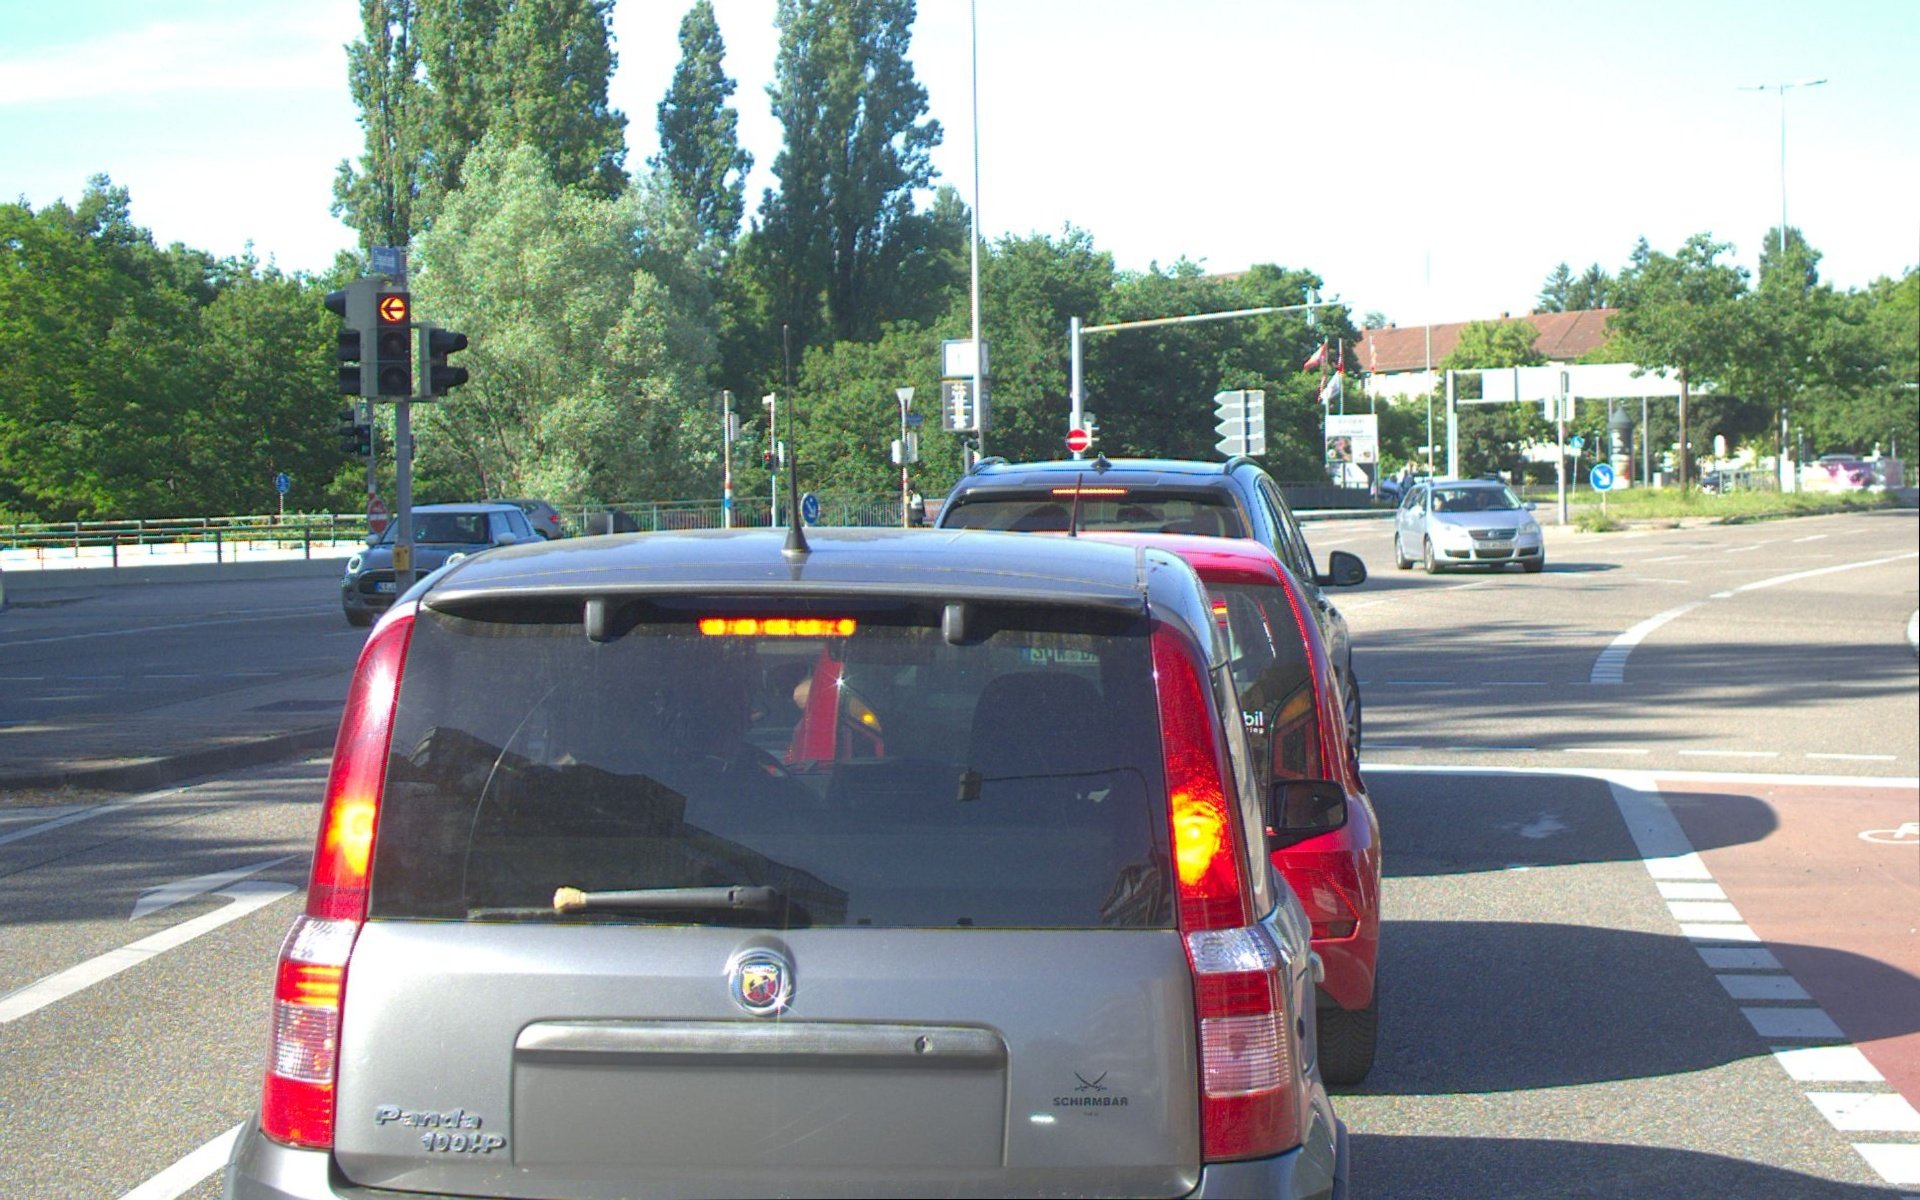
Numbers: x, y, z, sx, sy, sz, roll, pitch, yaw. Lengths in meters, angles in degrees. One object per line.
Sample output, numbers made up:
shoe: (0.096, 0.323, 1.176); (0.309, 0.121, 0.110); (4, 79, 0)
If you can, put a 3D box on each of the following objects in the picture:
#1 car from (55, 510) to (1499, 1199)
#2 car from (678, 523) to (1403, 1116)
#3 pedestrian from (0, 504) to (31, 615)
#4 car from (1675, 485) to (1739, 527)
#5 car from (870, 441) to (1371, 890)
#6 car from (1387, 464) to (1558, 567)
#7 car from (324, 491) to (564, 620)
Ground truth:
car: (-0.144, 0.608, 6.366); (1.820, 1.484, 4.000); (2, 2, 3)
car: (0.280, 0.511, 10.723); (1.820, 1.474, 4.000); (1, 1, 2)
pedestrian: (-14.107, -0.580, 50.319); (0.686, 1.533, 1.366); (0, -3, -3)
car: (36.707, -4.601, 168.869); (2.016, 1.848, 4.424); (0, -1, 27)
car: (0.898, 0.185, 16.097); (1.869, 1.784, 4.413); (1, 2, 9)
car: (8.010, -1.365, 54.085); (1.750, 1.488, 4.350); (-1, 3, -4)
car: (-6.313, -0.578, 42.463); (1.687, 1.451, 3.912); (0, 3, 11)
